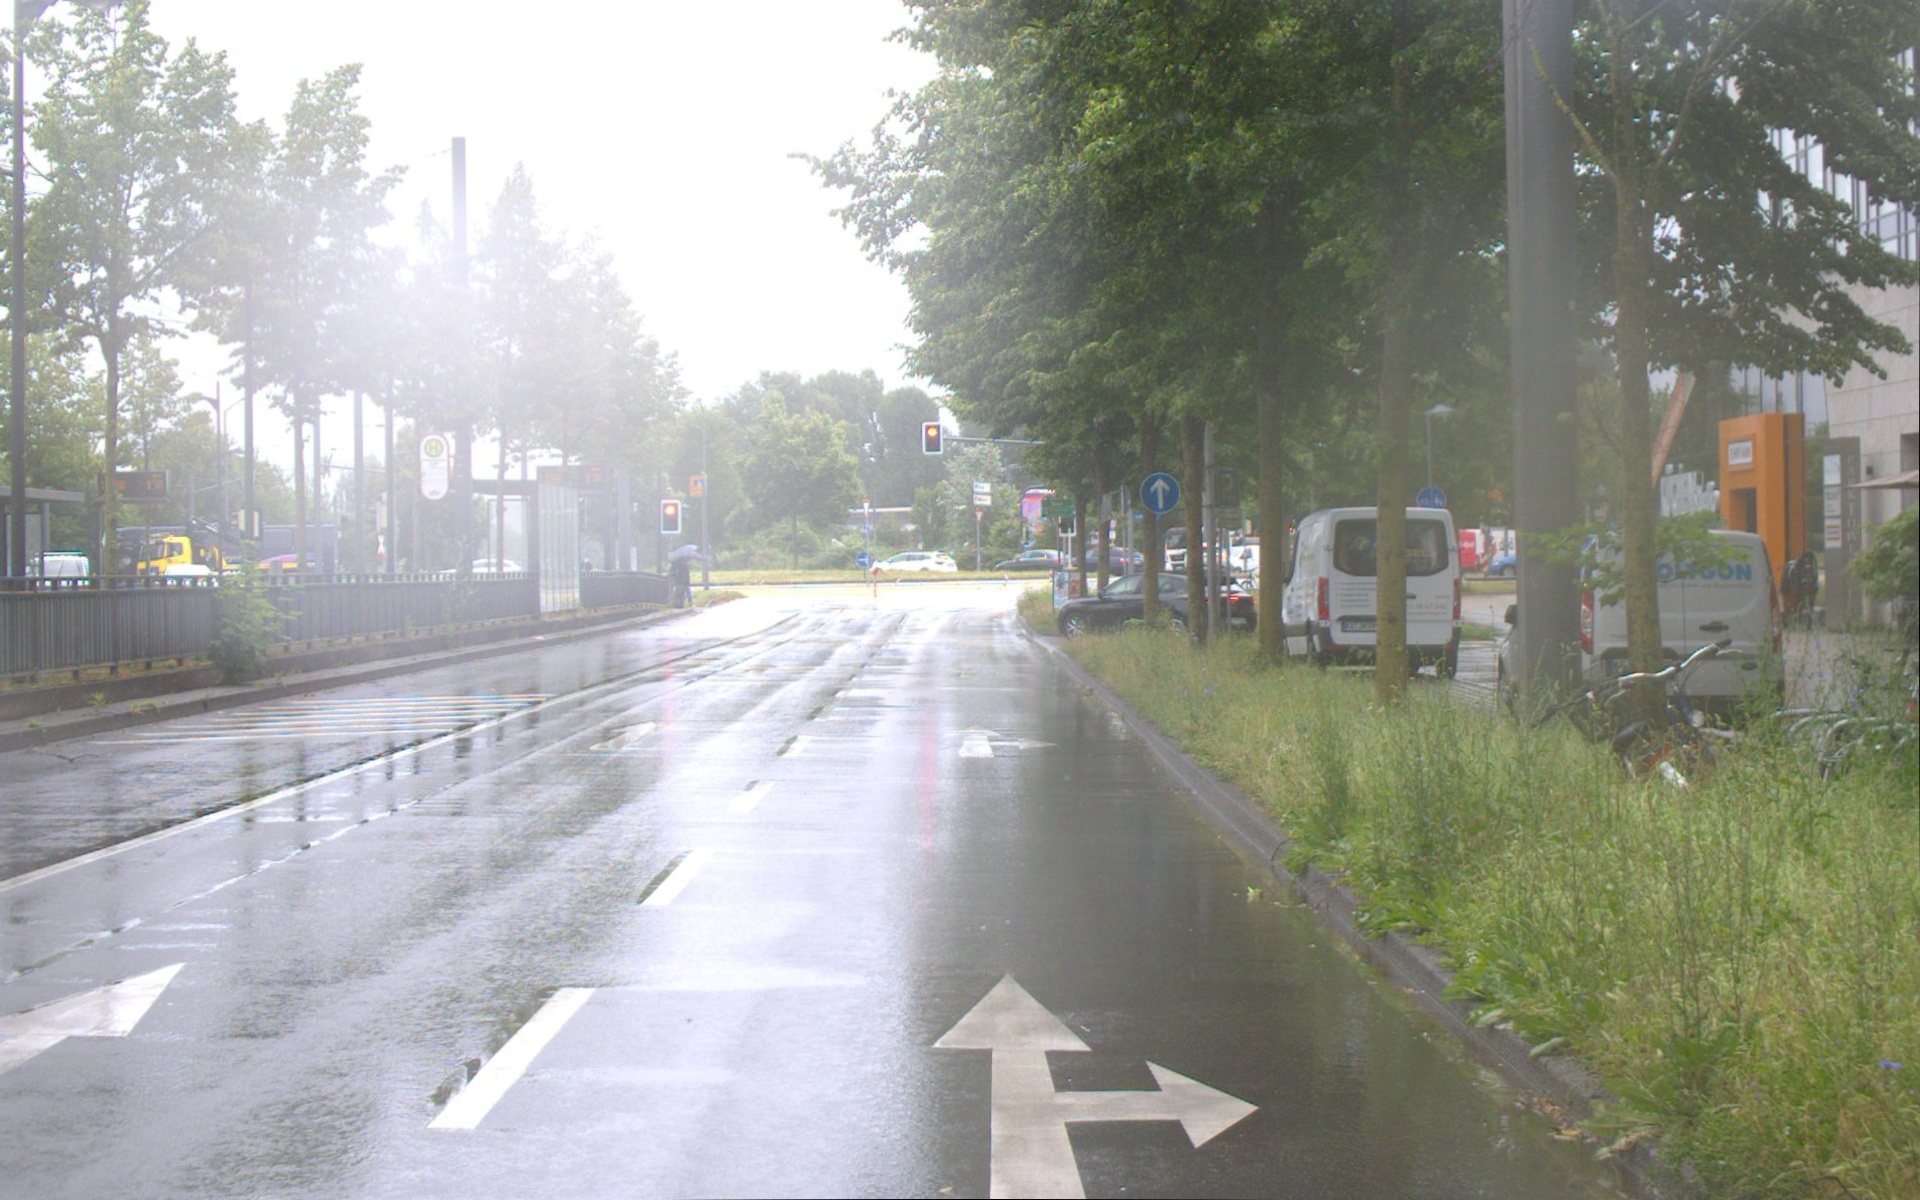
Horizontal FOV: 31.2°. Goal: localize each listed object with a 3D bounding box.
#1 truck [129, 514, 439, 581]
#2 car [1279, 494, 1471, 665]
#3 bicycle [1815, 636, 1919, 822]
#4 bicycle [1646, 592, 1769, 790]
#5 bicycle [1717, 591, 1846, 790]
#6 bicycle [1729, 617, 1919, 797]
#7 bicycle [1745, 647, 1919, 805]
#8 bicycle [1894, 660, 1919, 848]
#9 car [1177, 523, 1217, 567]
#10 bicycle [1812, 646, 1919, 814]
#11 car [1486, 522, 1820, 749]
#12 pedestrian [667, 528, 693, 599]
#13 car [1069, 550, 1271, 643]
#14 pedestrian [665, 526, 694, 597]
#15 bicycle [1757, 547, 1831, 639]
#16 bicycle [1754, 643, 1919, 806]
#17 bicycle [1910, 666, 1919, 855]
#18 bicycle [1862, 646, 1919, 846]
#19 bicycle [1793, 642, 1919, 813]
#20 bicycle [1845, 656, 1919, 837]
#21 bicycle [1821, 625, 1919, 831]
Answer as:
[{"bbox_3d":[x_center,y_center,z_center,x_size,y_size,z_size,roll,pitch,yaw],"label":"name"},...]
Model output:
[{"bbox_3d":[-32.608,-2.496,166.649,14.864,3.136,3.522,0,1,-40],"label":"truck"},{"bbox_3d":[5.746,-0.311,48.155,2.121,2.266,4.565,-1,1,0],"label":"car"},{"bbox_3d":[4.942,0.631,17.060,1.325,0.907,0.275,-1,1,0],"label":"bicycle"},{"bbox_3d":[3.384,0.395,15.612,0.274,0.846,1.293,-1,1,0],"label":"bicycle"},{"bbox_3d":[3.718,0.393,15.615,0.274,0.846,1.293,-1,1,0],"label":"bicycle"},{"bbox_3d":[5.062,0.591,19.195,1.460,0.976,0.311,-1,0,0],"label":"bicycle"},{"bbox_3d":[4.976,0.687,18.839,1.288,0.846,0.275,0,1,0],"label":"bicycle"},{"bbox_3d":[4.969,0.696,15.764,1.288,0.846,0.275,-1,1,0],"label":"bicycle"},{"bbox_3d":[9.872,-2.322,143.459,1.623,1.694,3.456,0,3,3],"label":"car"},{"bbox_3d":[5.087,0.664,17.768,1.288,0.846,0.275,-1,0,0],"label":"bicycle"},{"bbox_3d":[5.848,0.246,29.559,1.906,1.785,4.688,-1,1,0],"label":"car"},{"bbox_3d":[-8.136,-1.064,100.009,0.697,2.006,0.656,-1,3,-3],"label":"pedestrian"},{"bbox_3d":[3.942,-0.101,65.075,1.815,1.539,4.000,-2,3,-32],"label":"car"},{"bbox_3d":[-8.081,-1.111,99.099,0.698,2.006,0.655,0,3,7],"label":"pedestrian"},{"bbox_3d":[15.113,-0.150,62.340,0.666,1.529,2.765,-1,3,0],"label":"bicycle"},{"bbox_3d":[5.100,0.659,18.440,1.595,0.846,0.311,-1,0,0],"label":"bicycle"},{"bbox_3d":[4.959,0.714,15.412,1.288,0.846,0.355,-1,1,0],"label":"bicycle"},{"bbox_3d":[4.909,0.673,16.096,1.288,0.915,0.275,-1,1,0],"label":"bicycle"},{"bbox_3d":[4.909,0.639,17.442,1.288,0.846,0.275,-1,1,0],"label":"bicycle"},{"bbox_3d":[4.917,0.690,16.445,1.288,0.846,0.275,-1,0,0],"label":"bicycle"},{"bbox_3d":[4.881,0.614,16.749,1.288,0.985,0.275,-1,0,0],"label":"bicycle"}]
